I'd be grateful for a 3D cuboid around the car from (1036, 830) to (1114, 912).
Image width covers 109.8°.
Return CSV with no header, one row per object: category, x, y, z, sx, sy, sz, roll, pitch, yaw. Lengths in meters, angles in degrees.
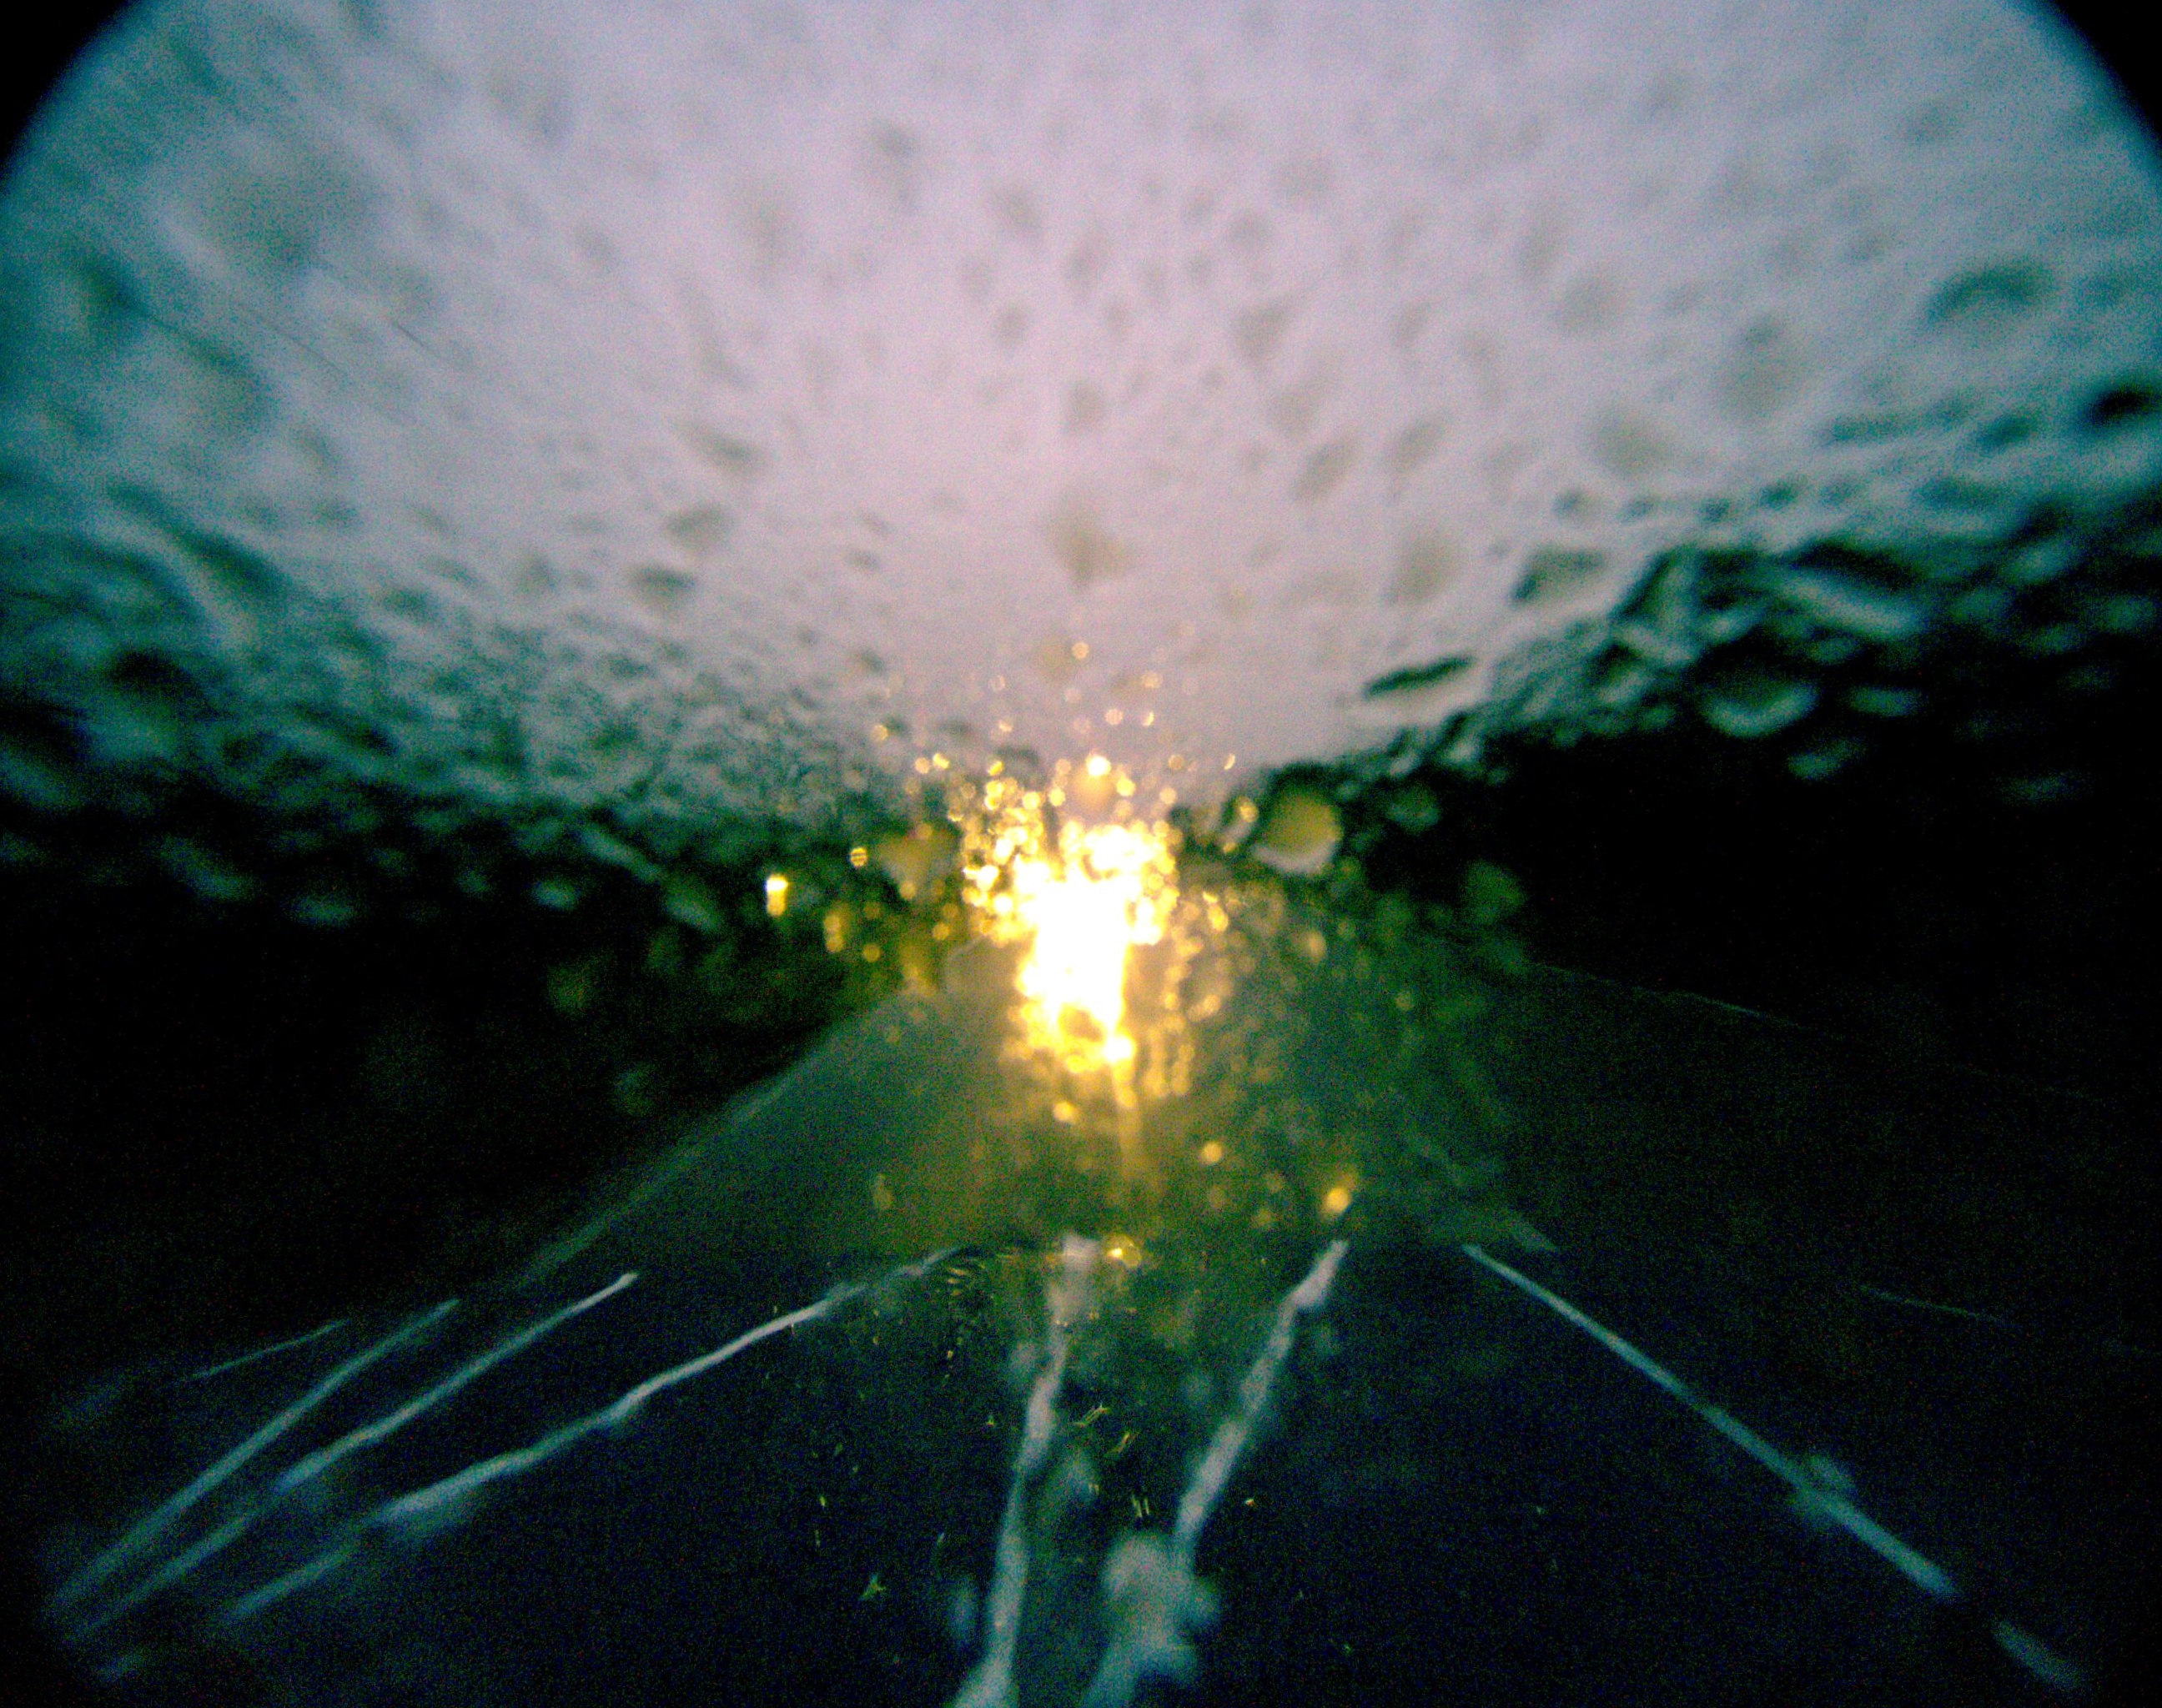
car,-0.057,0.450,23.187,1.952,2.195,4.536,-2,0,4
